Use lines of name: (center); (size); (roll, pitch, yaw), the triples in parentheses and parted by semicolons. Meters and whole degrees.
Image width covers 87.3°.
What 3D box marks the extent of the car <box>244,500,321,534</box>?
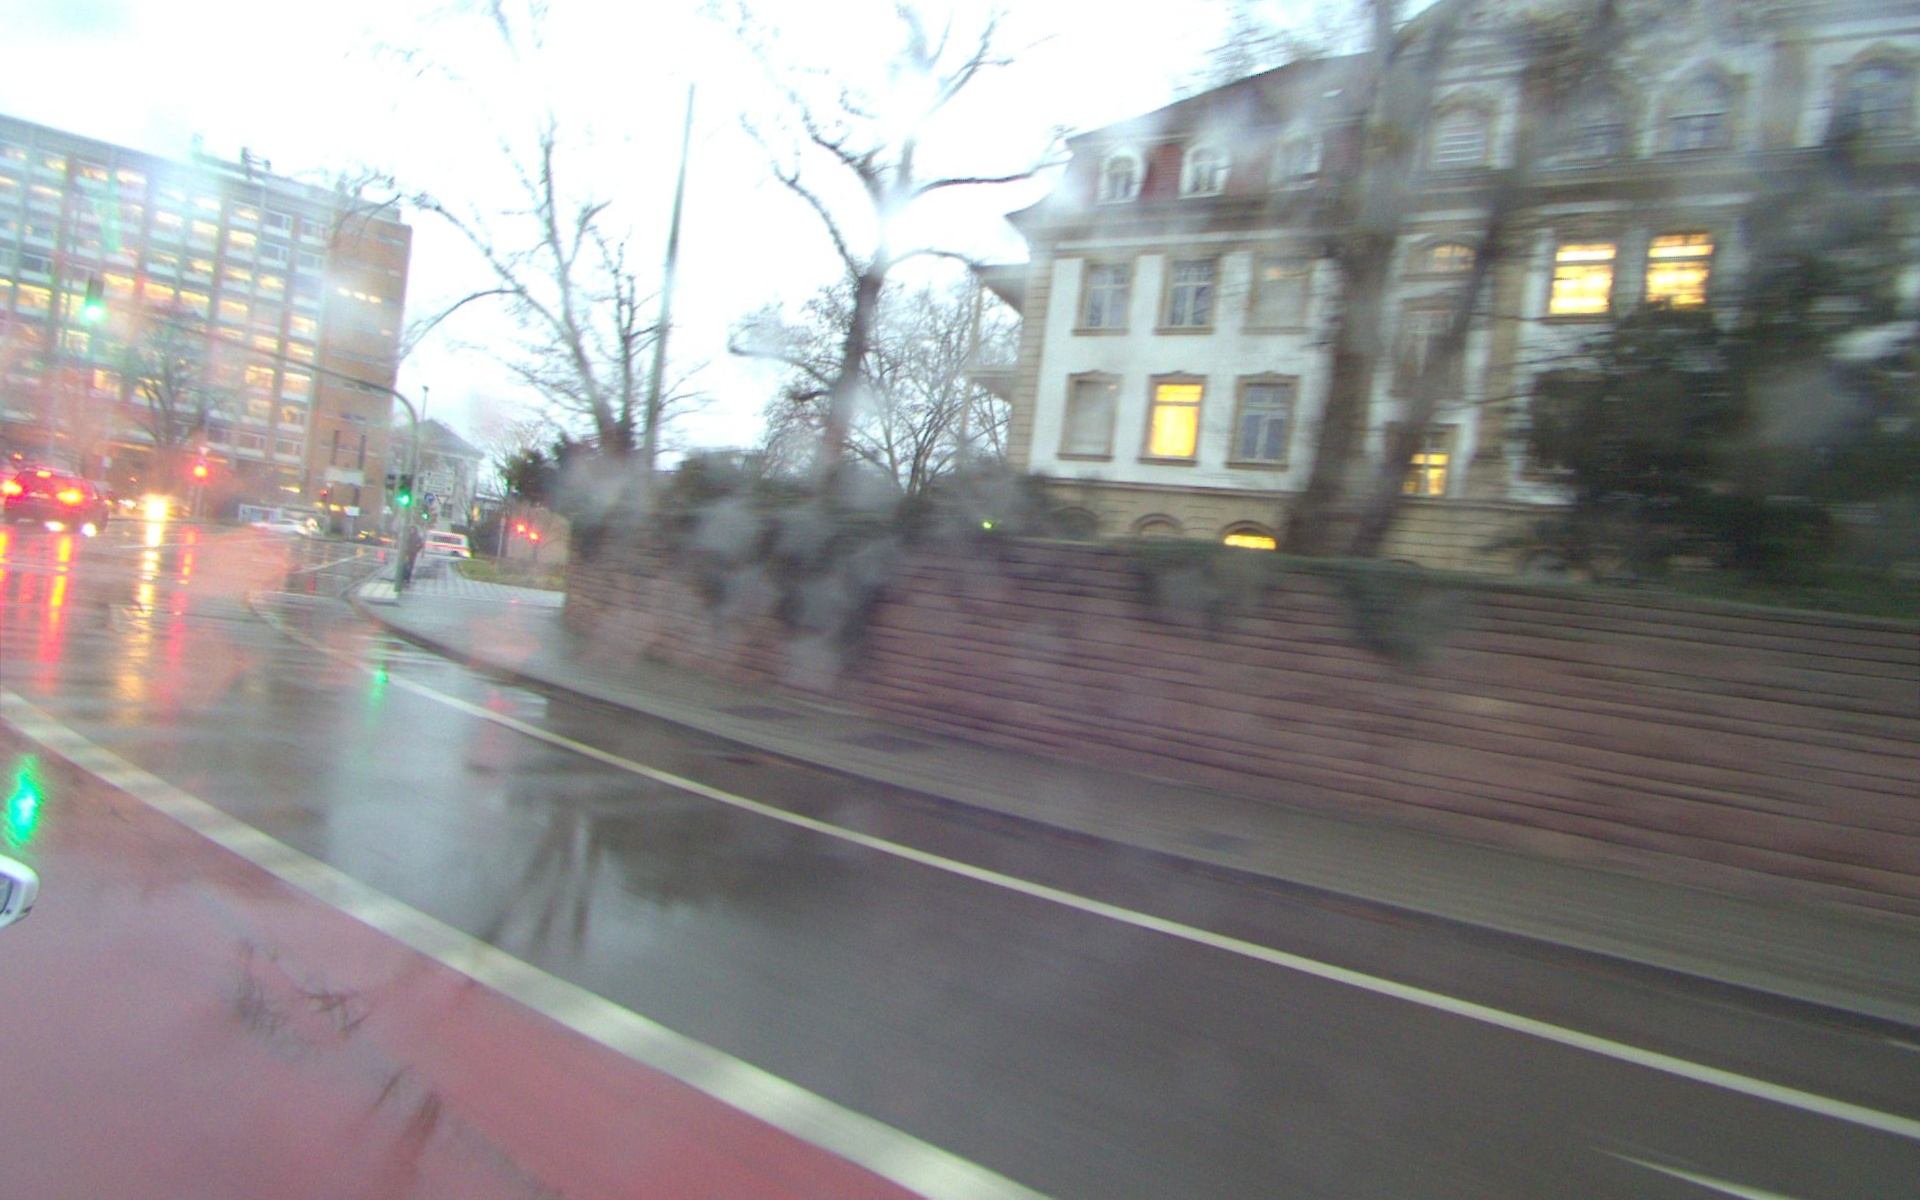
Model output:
car: (-64.341, -7.878, 95.645); (5.494, 2.046, 1.991); (10, -3, -22)

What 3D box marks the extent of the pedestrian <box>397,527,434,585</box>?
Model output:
pedestrian: (-17.219, -1.394, 31.806); (0.799, 1.706, 1.146); (6, 2, -33)

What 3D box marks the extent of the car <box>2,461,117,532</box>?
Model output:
car: (-29.124, -3.284, 32.668); (1.635, 1.840, 3.971); (9, -1, -28)

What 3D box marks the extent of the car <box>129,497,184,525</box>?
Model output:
car: (-48.718, -5.353, 61.106); (1.732, 1.395, 4.334); (6, 1, -28)

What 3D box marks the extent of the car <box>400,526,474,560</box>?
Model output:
car: (-44.407, -4.842, 85.516); (5.091, 1.935, 1.995); (9, -1, -13)

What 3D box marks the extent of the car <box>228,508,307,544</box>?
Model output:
car: (-58.123, -6.183, 84.562); (4.875, 2.036, 1.995); (9, -2, -16)
